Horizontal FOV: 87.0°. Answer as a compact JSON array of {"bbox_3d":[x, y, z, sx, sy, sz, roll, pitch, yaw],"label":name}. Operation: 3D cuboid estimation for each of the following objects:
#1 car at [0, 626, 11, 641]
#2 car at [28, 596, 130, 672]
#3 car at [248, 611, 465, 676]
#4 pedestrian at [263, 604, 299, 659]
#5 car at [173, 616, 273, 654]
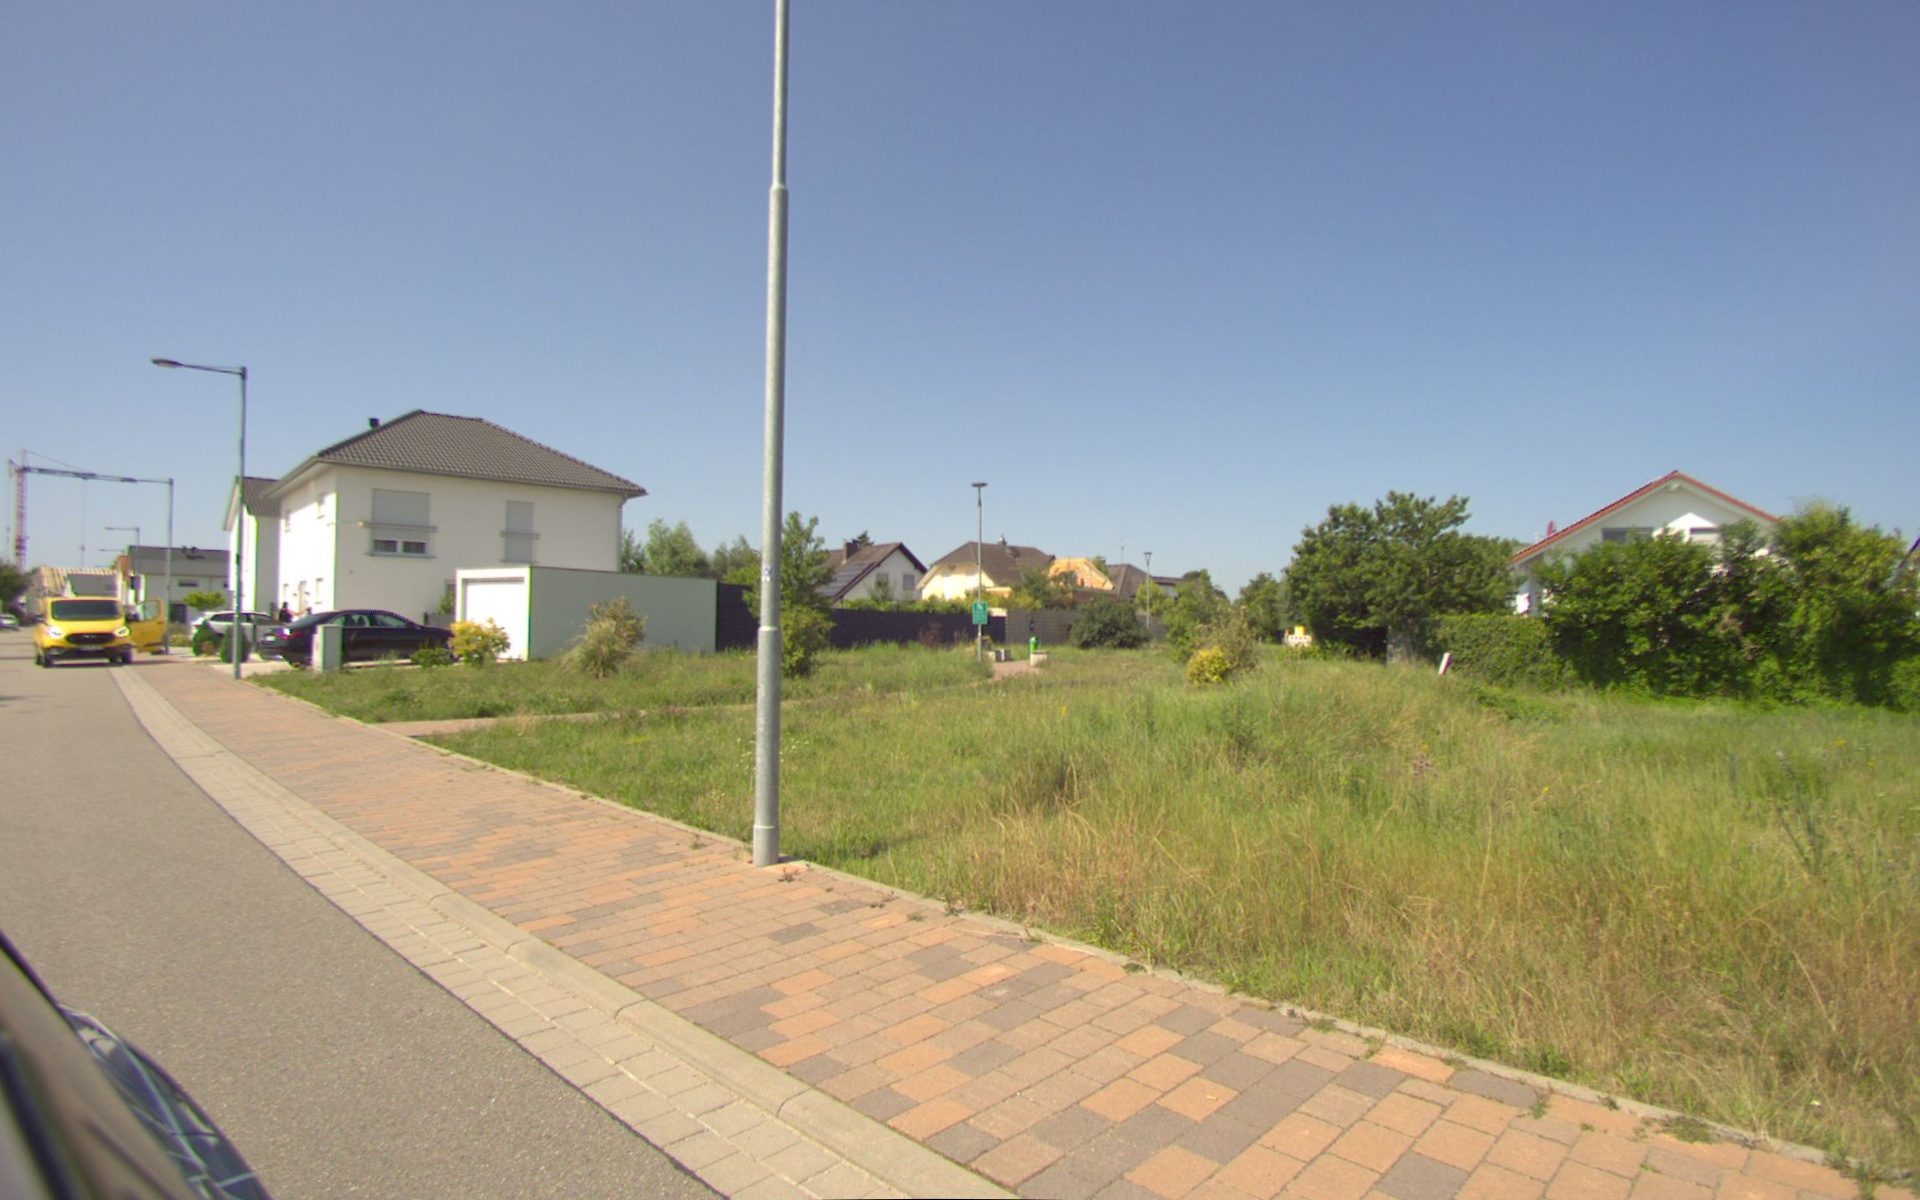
[{"bbox_3d":[-89.223,3.122,93.999,1.471,1.408,3.277,2,-2,-42],"label":"car"},{"bbox_3d":[-25.584,0.946,29.329,4.843,2.029,1.862,-1,-1,44],"label":"car"},{"bbox_3d":[-14.899,1.021,25.217,1.745,1.463,4.355,-1,-1,35],"label":"car"},{"bbox_3d":[-21.693,0.988,32.340,0.917,1.698,0.539,-1,0,-32],"label":"pedestrian"},{"bbox_3d":[-37.446,1.784,51.463,3.937,1.866,2.003,2,-2,-41],"label":"car"}]
